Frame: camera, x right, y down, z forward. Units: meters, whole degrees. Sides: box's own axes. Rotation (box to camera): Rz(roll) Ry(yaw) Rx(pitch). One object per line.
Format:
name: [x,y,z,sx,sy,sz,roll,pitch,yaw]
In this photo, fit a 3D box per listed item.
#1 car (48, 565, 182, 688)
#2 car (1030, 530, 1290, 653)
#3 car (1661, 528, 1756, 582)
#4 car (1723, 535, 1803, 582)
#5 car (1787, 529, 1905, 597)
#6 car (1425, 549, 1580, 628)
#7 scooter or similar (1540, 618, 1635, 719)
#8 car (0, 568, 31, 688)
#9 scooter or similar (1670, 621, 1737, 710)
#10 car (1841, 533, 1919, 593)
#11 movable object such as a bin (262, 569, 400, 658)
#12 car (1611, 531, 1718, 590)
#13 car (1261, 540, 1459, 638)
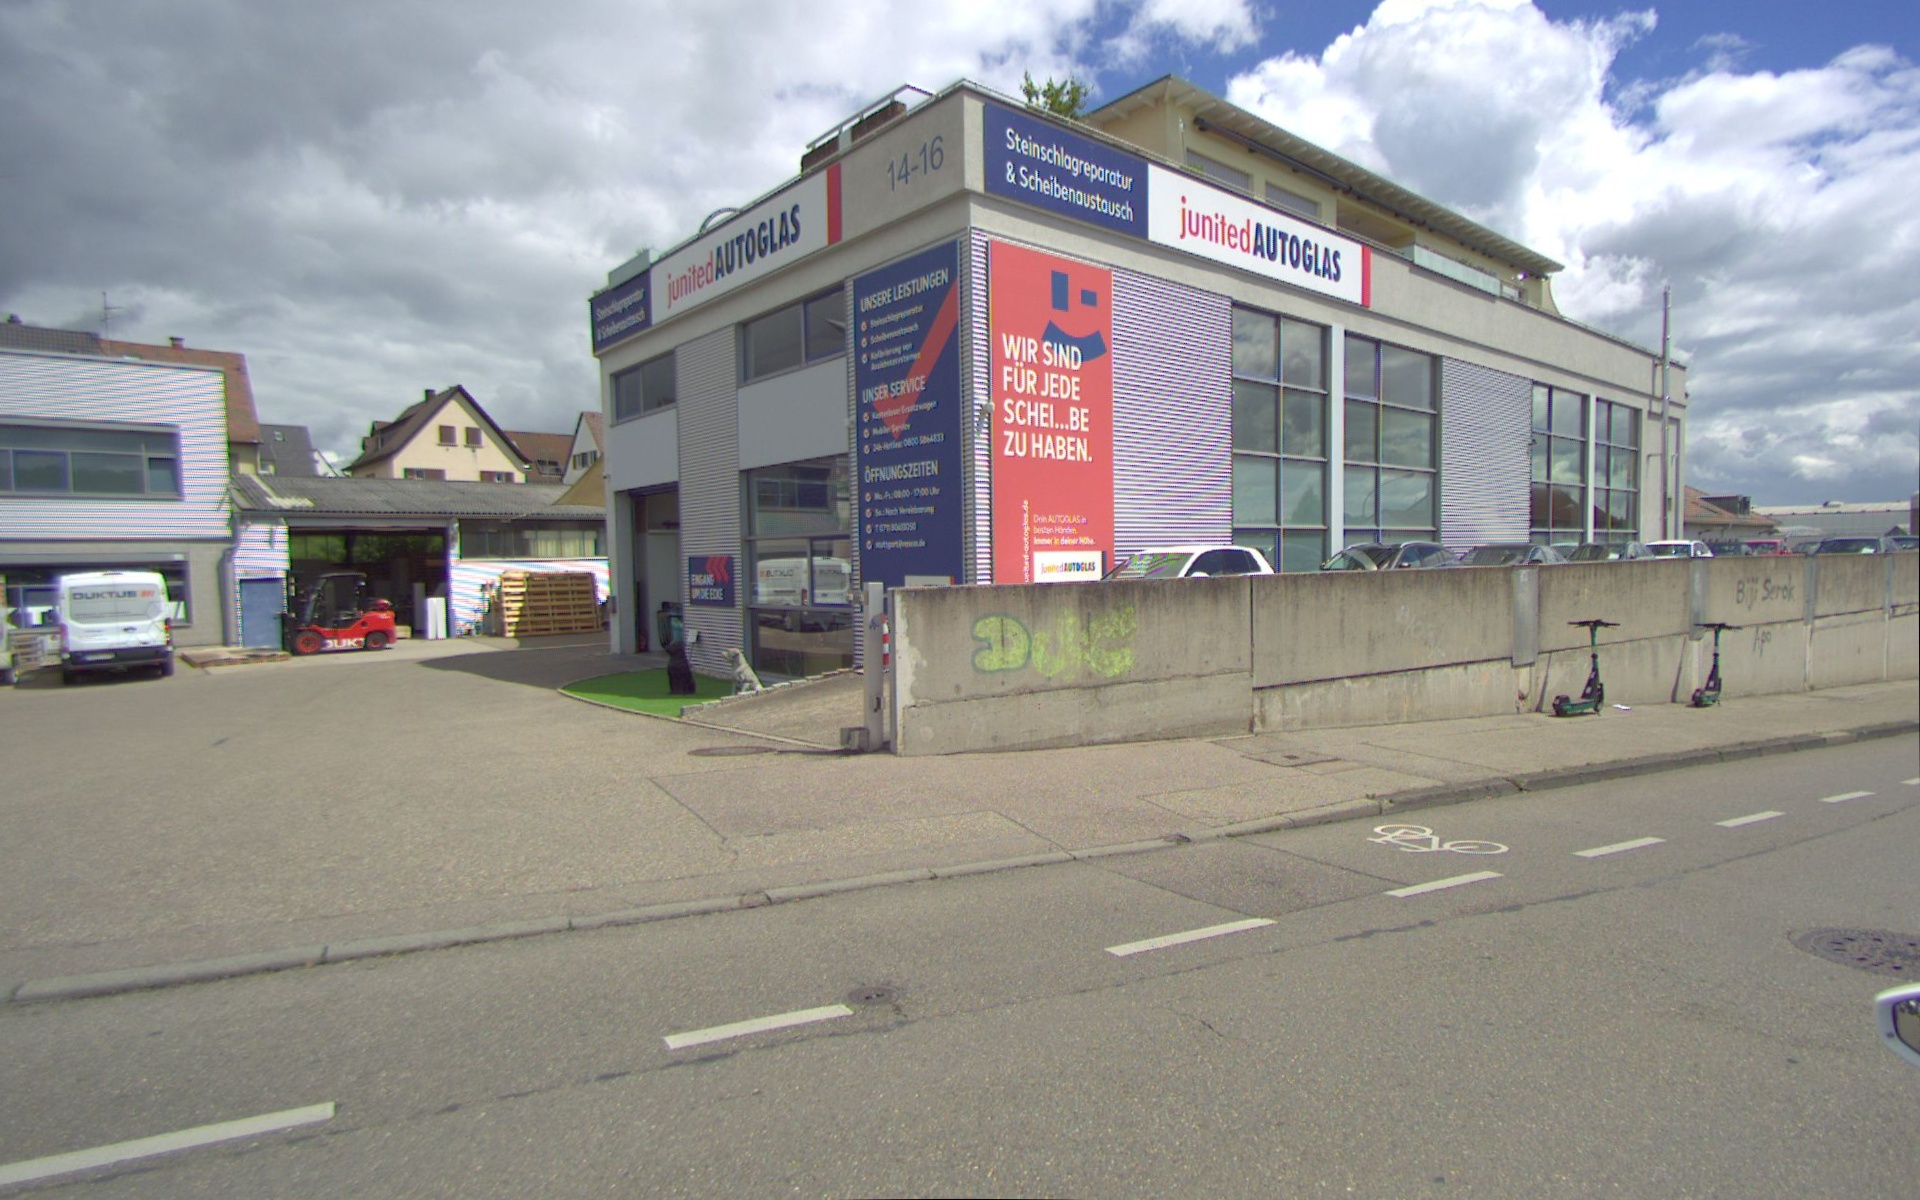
car: [-20.576,0.515,24.392,4.559,2.636,1.979,2,5,45]
car: [3.171,-0.091,15.510,4.080,1.658,1.790,1,0,-41]
car: [26.051,-1.509,34.933,4.080,1.658,1.790,1,0,-41]
car: [32.456,-1.644,40.579,4.080,1.658,1.790,1,0,-41]
car: [24.571,-0.969,27.818,4.070,1.658,1.791,1,0,-39]
car: [12.569,-0.222,23.184,4.080,1.658,1.790,1,0,-41]
scooter or similar: [8.475,0.901,13.556,1.291,1.293,0.554,1,0,-32]
car: [-23.399,0.618,23.483,1.975,2.636,4.678,-4,4,-38]
scooter or similar: [11.590,0.989,15.647,1.373,1.293,0.514,1,3,-42]
car: [28.927,-1.089,31.127,4.070,1.658,1.791,1,0,-39]
movable object such as a bin: [-18.093,0.328,28.946,3.120,2.382,1.417,-3,3,-41]
car: [22.281,-1.202,31.725,4.080,1.658,1.790,1,0,-41]
car: [7.649,-0.161,19.033,4.080,1.658,1.790,1,0,-41]
